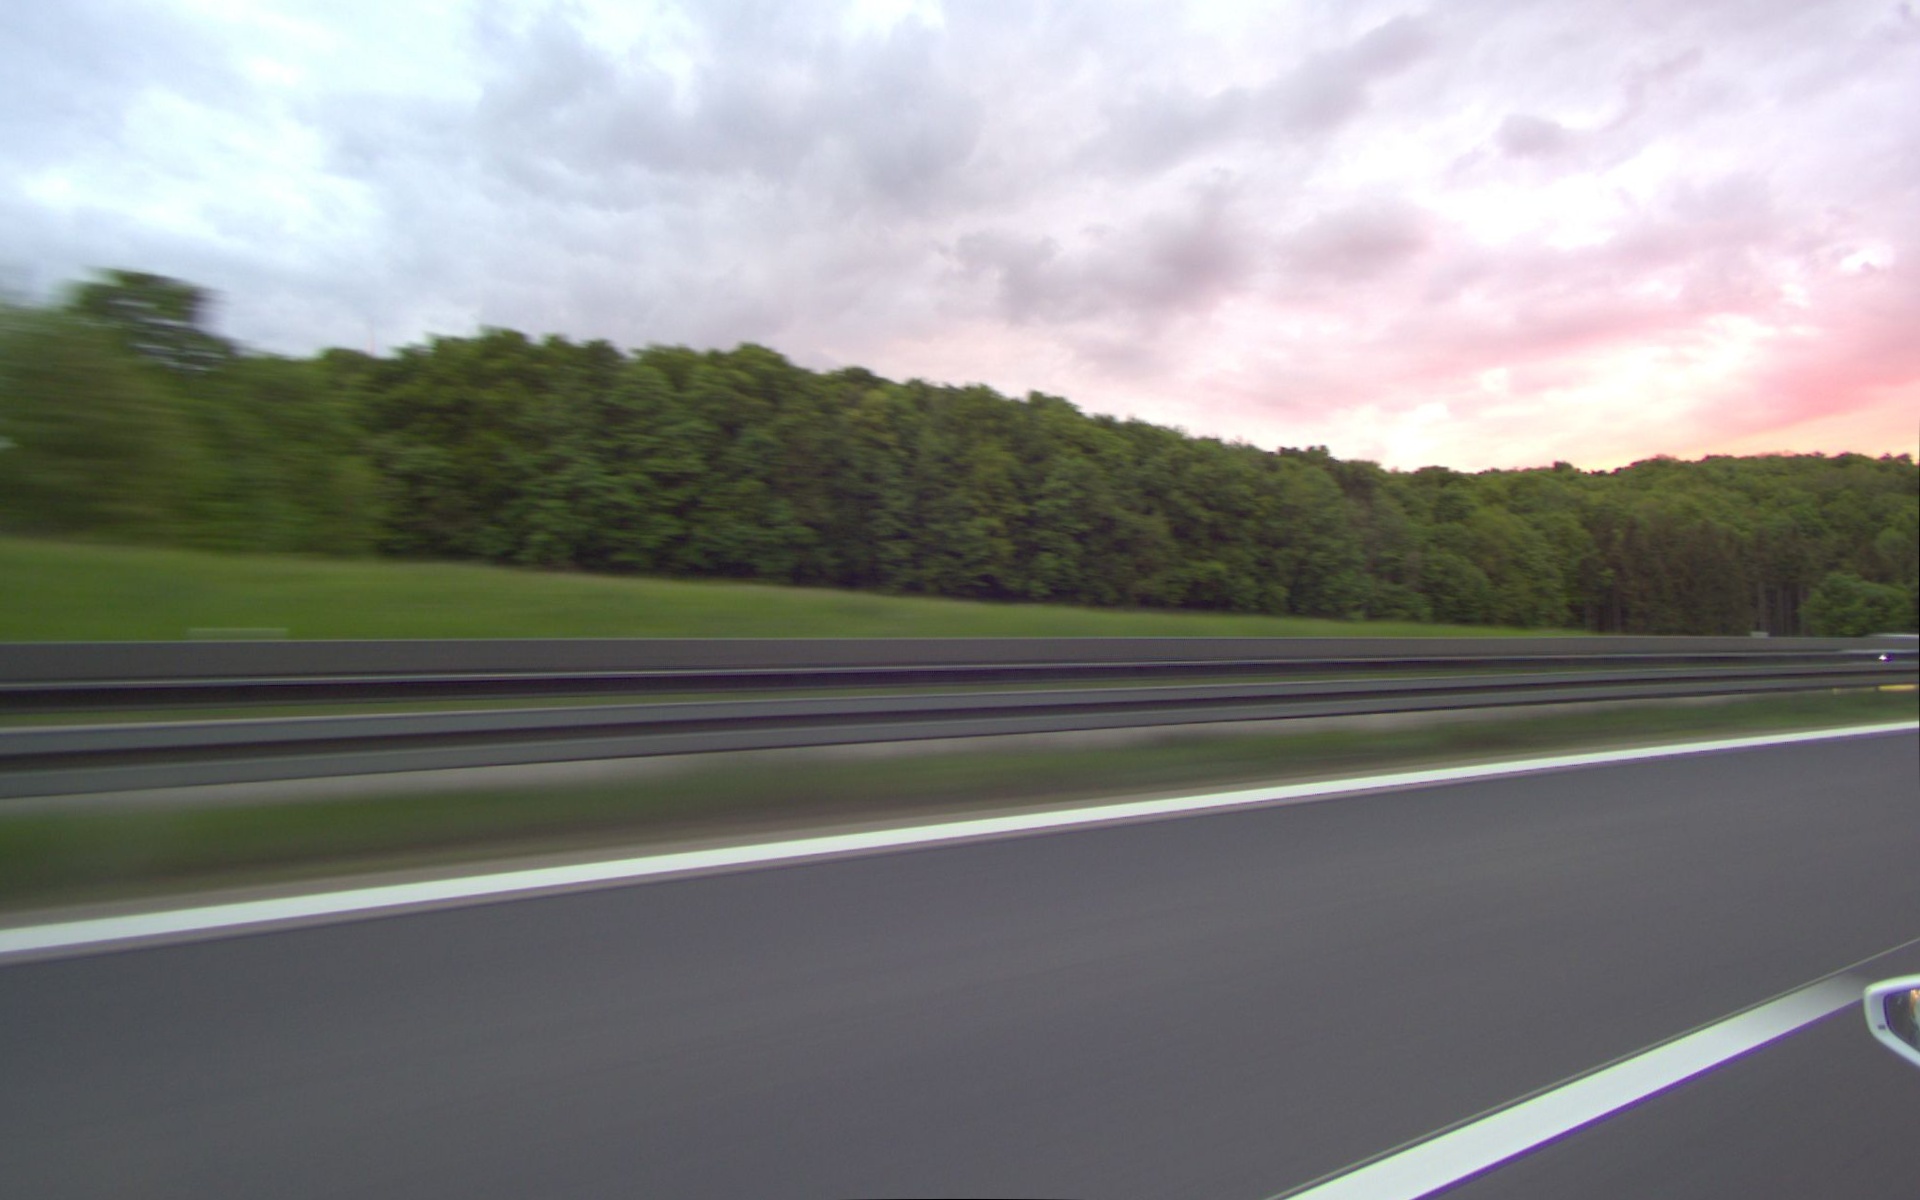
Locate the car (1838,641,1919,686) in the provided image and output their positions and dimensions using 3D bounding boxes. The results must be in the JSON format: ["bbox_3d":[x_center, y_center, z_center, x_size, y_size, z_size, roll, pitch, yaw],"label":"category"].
[{"bbox_3d":[33.175,2.211,35.476,4.621,1.461,1.790,1,-2,-29],"label":"car"}]
